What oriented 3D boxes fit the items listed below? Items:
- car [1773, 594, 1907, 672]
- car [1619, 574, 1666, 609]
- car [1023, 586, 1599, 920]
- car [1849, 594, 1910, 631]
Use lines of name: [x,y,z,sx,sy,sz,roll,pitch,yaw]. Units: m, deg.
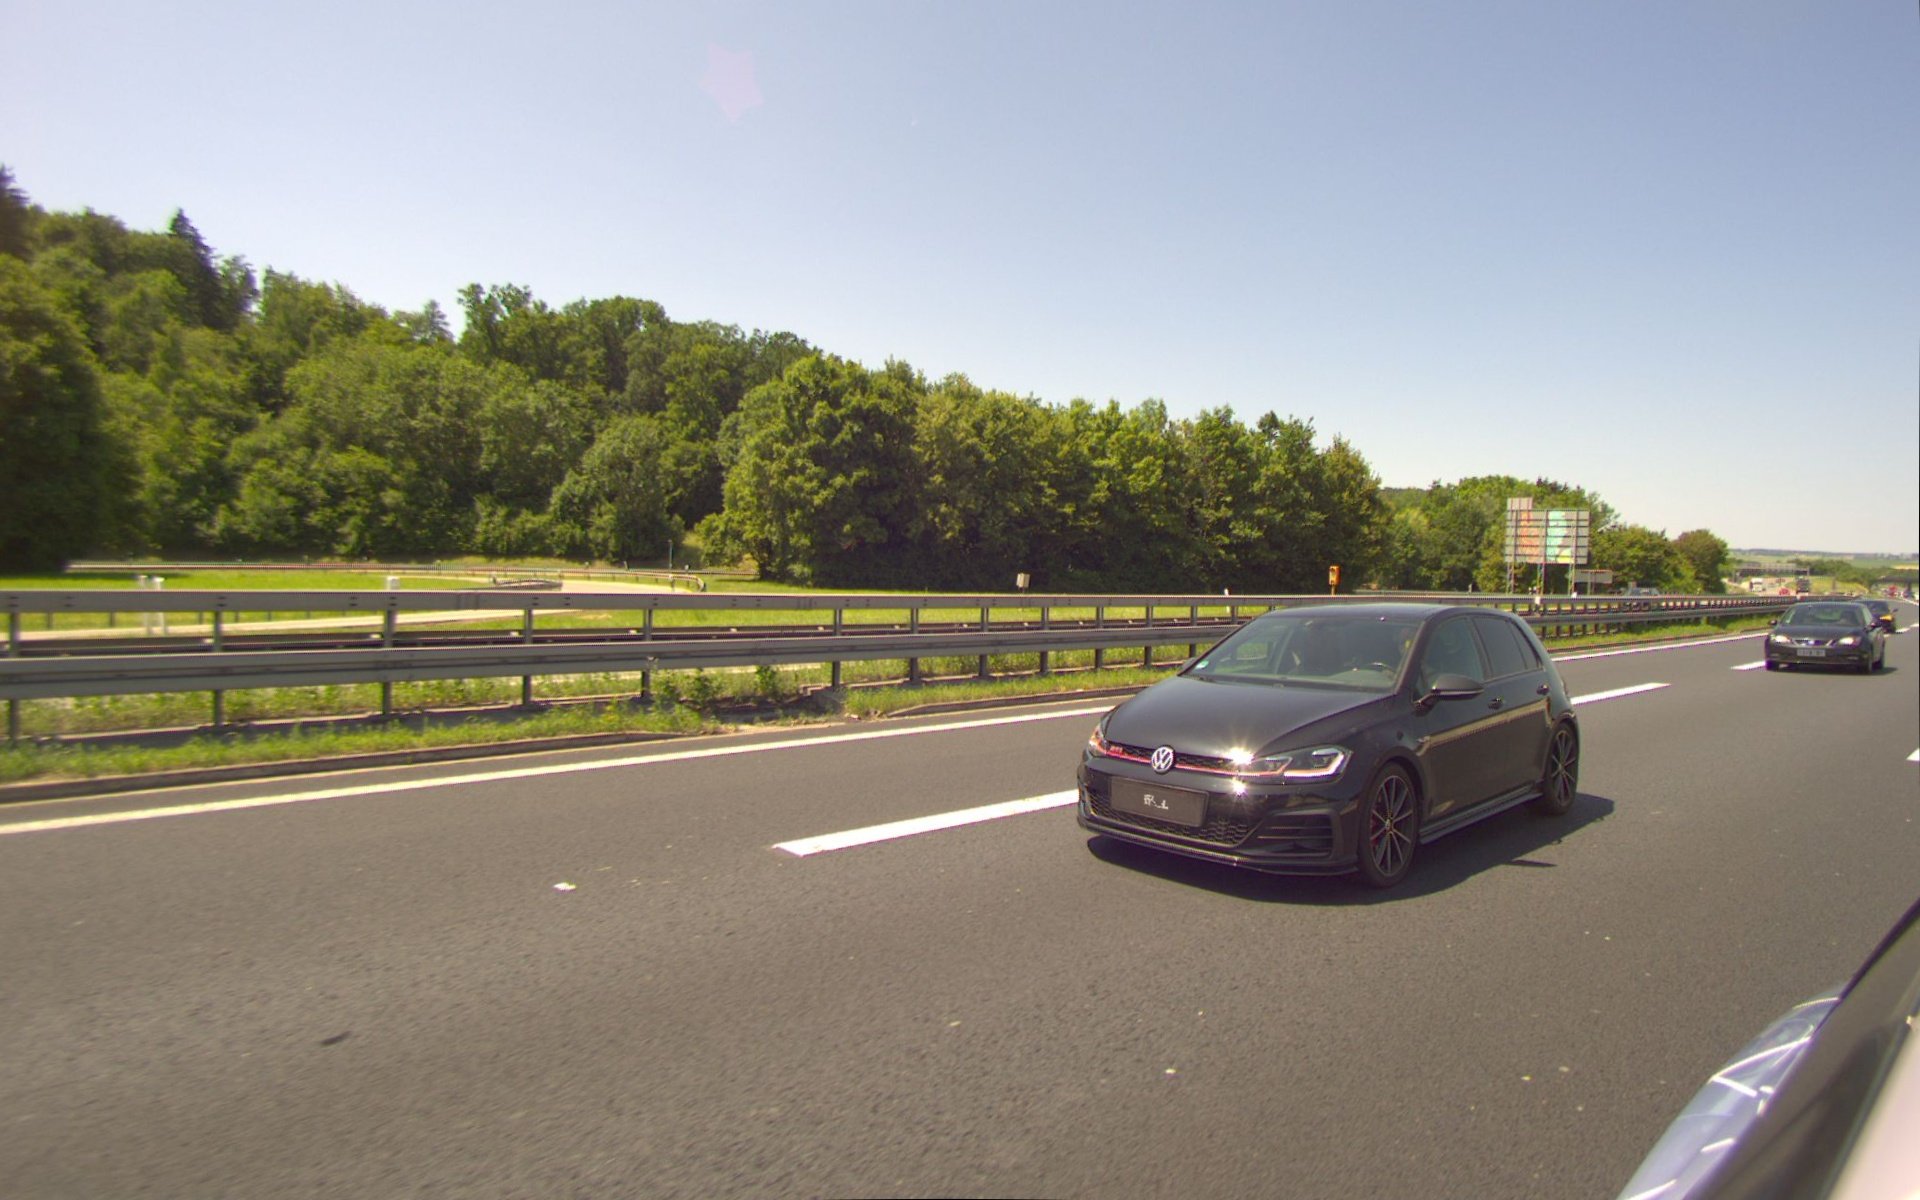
car: [18.427,0.611,21.147,3.699,1.417,1.778,-1,2,-44]
car: [42.338,-0.537,62.758,1.991,2.038,3.942,2,2,40]
car: [2.409,0.652,6.460,3.897,1.453,1.797,-1,2,-41]
car: [39.934,0.509,43.924,1.887,1.491,3.806,1,2,44]
